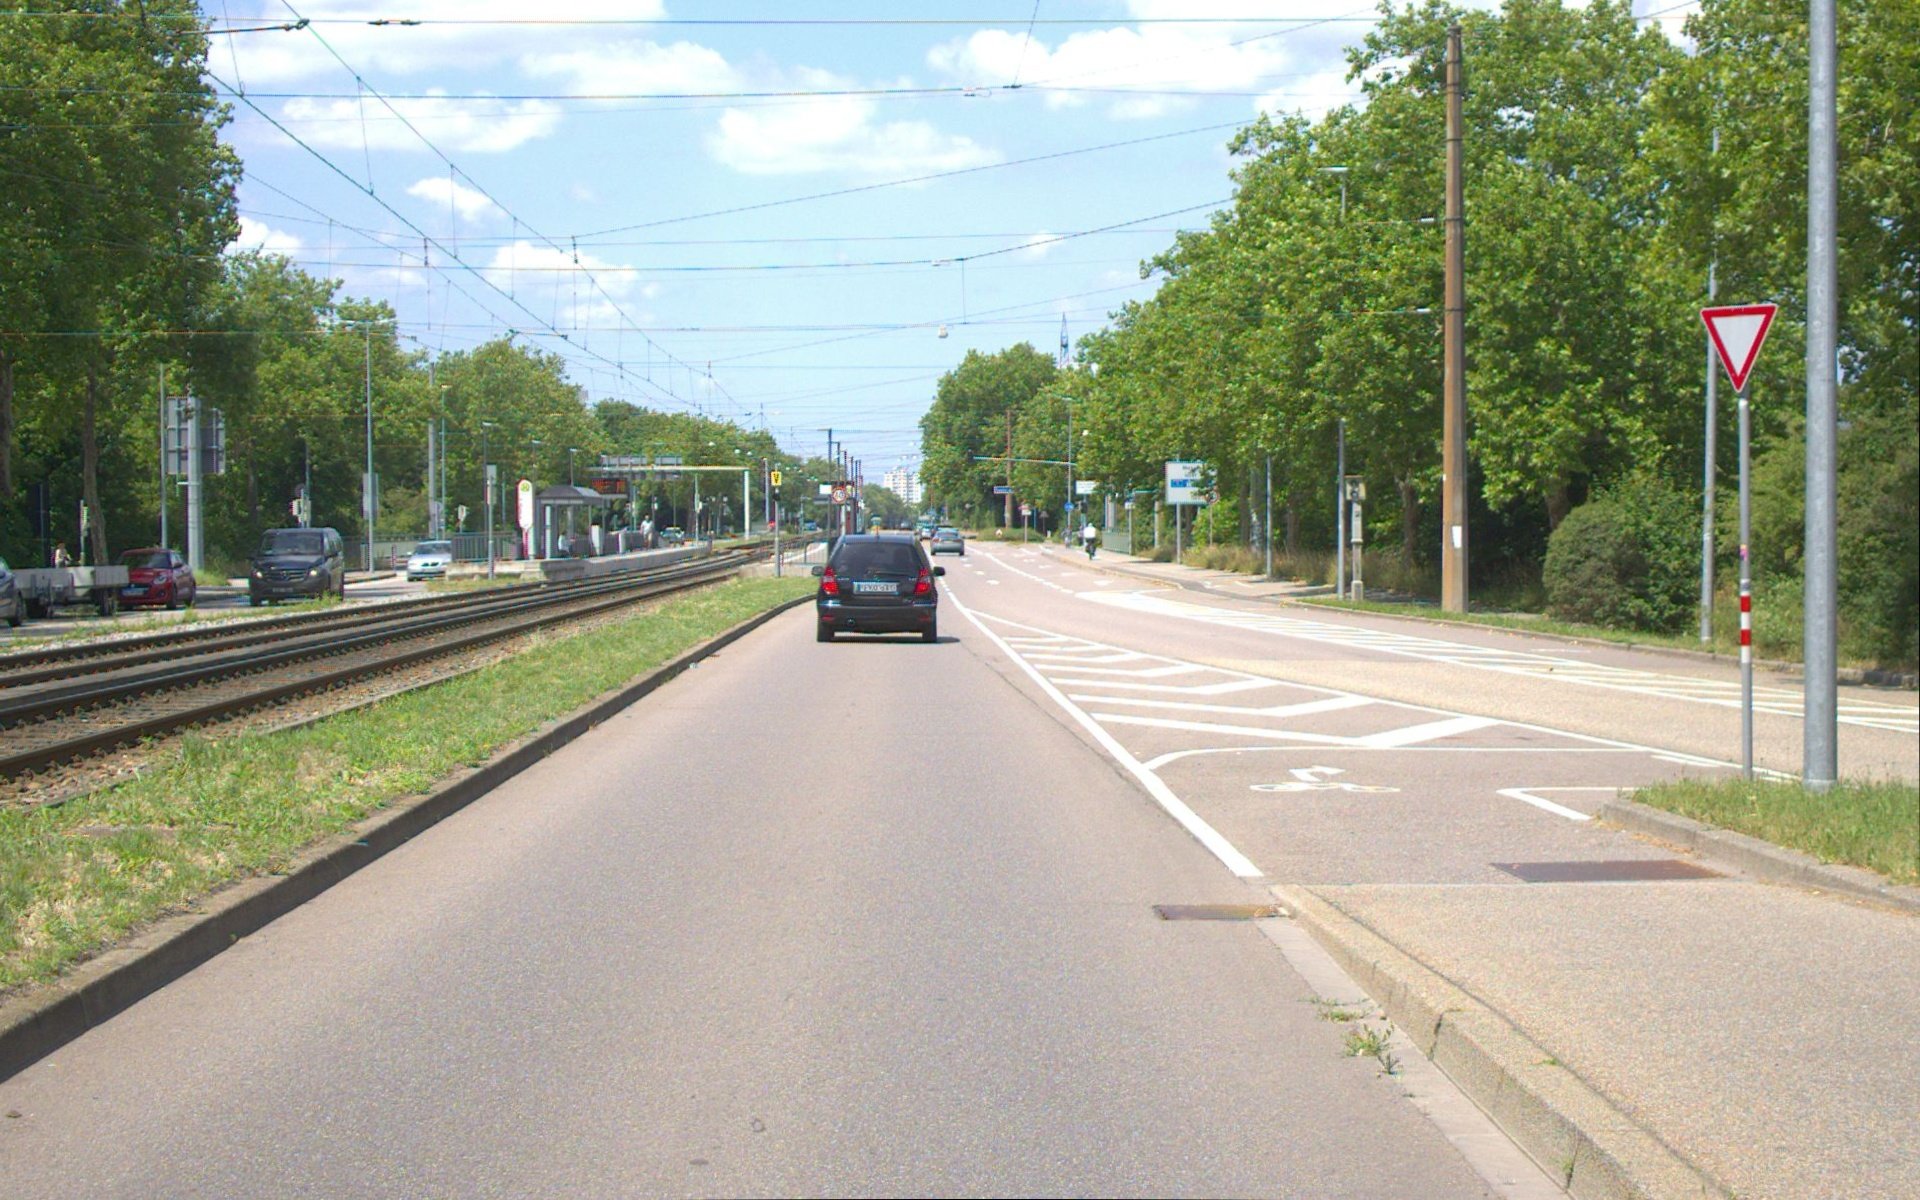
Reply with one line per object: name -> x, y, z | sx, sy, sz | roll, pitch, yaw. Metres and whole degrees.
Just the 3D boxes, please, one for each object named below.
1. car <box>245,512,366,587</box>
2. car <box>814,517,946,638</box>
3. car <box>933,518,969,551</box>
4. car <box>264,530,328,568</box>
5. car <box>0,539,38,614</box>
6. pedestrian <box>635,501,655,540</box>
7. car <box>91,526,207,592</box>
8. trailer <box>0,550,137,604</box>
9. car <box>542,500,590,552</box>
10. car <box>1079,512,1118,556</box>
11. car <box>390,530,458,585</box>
car -> -16.219, -1.275, 85.467 | 2.117, 1.784, 5.406 | 0, 1, -1
car -> -1.155, -0.373, 51.214 | 1.853, 1.564, 4.389 | 1, 3, 0
car -> -0.488, -3.614, 189.258 | 1.885, 1.634, 4.001 | 3, 2, 0
car -> -28.522, -2.209, 147.814 | 1.993, 1.568, 4.000 | 0, 1, 0
car -> -19.046, -0.455, 65.702 | 1.870, 1.396, 4.419 | 0, 1, -3
pedestrian -> -16.395, -4.136, 179.052 | 0.952, 2.006, 0.892 | 1, 2, -1
car -> -19.835, -1.022, 84.247 | 1.993, 1.568, 4.001 | 0, 1, -1
trailer -> -19.466, -0.517, 75.189 | 1.892, 1.040, 5.104 | 1, 2, -2
car -> -15.963, -3.017, 139.445 | 1.585, 2.006, 4.111 | 1, 2, -2
car -> 6.600, -3.155, 164.363 | 1.612, 2.006, 3.440 | 1, 2, -1
car -> -19.731, -1.586, 126.712 | 1.993, 2.007, 4.000 | 0, 1, -1
